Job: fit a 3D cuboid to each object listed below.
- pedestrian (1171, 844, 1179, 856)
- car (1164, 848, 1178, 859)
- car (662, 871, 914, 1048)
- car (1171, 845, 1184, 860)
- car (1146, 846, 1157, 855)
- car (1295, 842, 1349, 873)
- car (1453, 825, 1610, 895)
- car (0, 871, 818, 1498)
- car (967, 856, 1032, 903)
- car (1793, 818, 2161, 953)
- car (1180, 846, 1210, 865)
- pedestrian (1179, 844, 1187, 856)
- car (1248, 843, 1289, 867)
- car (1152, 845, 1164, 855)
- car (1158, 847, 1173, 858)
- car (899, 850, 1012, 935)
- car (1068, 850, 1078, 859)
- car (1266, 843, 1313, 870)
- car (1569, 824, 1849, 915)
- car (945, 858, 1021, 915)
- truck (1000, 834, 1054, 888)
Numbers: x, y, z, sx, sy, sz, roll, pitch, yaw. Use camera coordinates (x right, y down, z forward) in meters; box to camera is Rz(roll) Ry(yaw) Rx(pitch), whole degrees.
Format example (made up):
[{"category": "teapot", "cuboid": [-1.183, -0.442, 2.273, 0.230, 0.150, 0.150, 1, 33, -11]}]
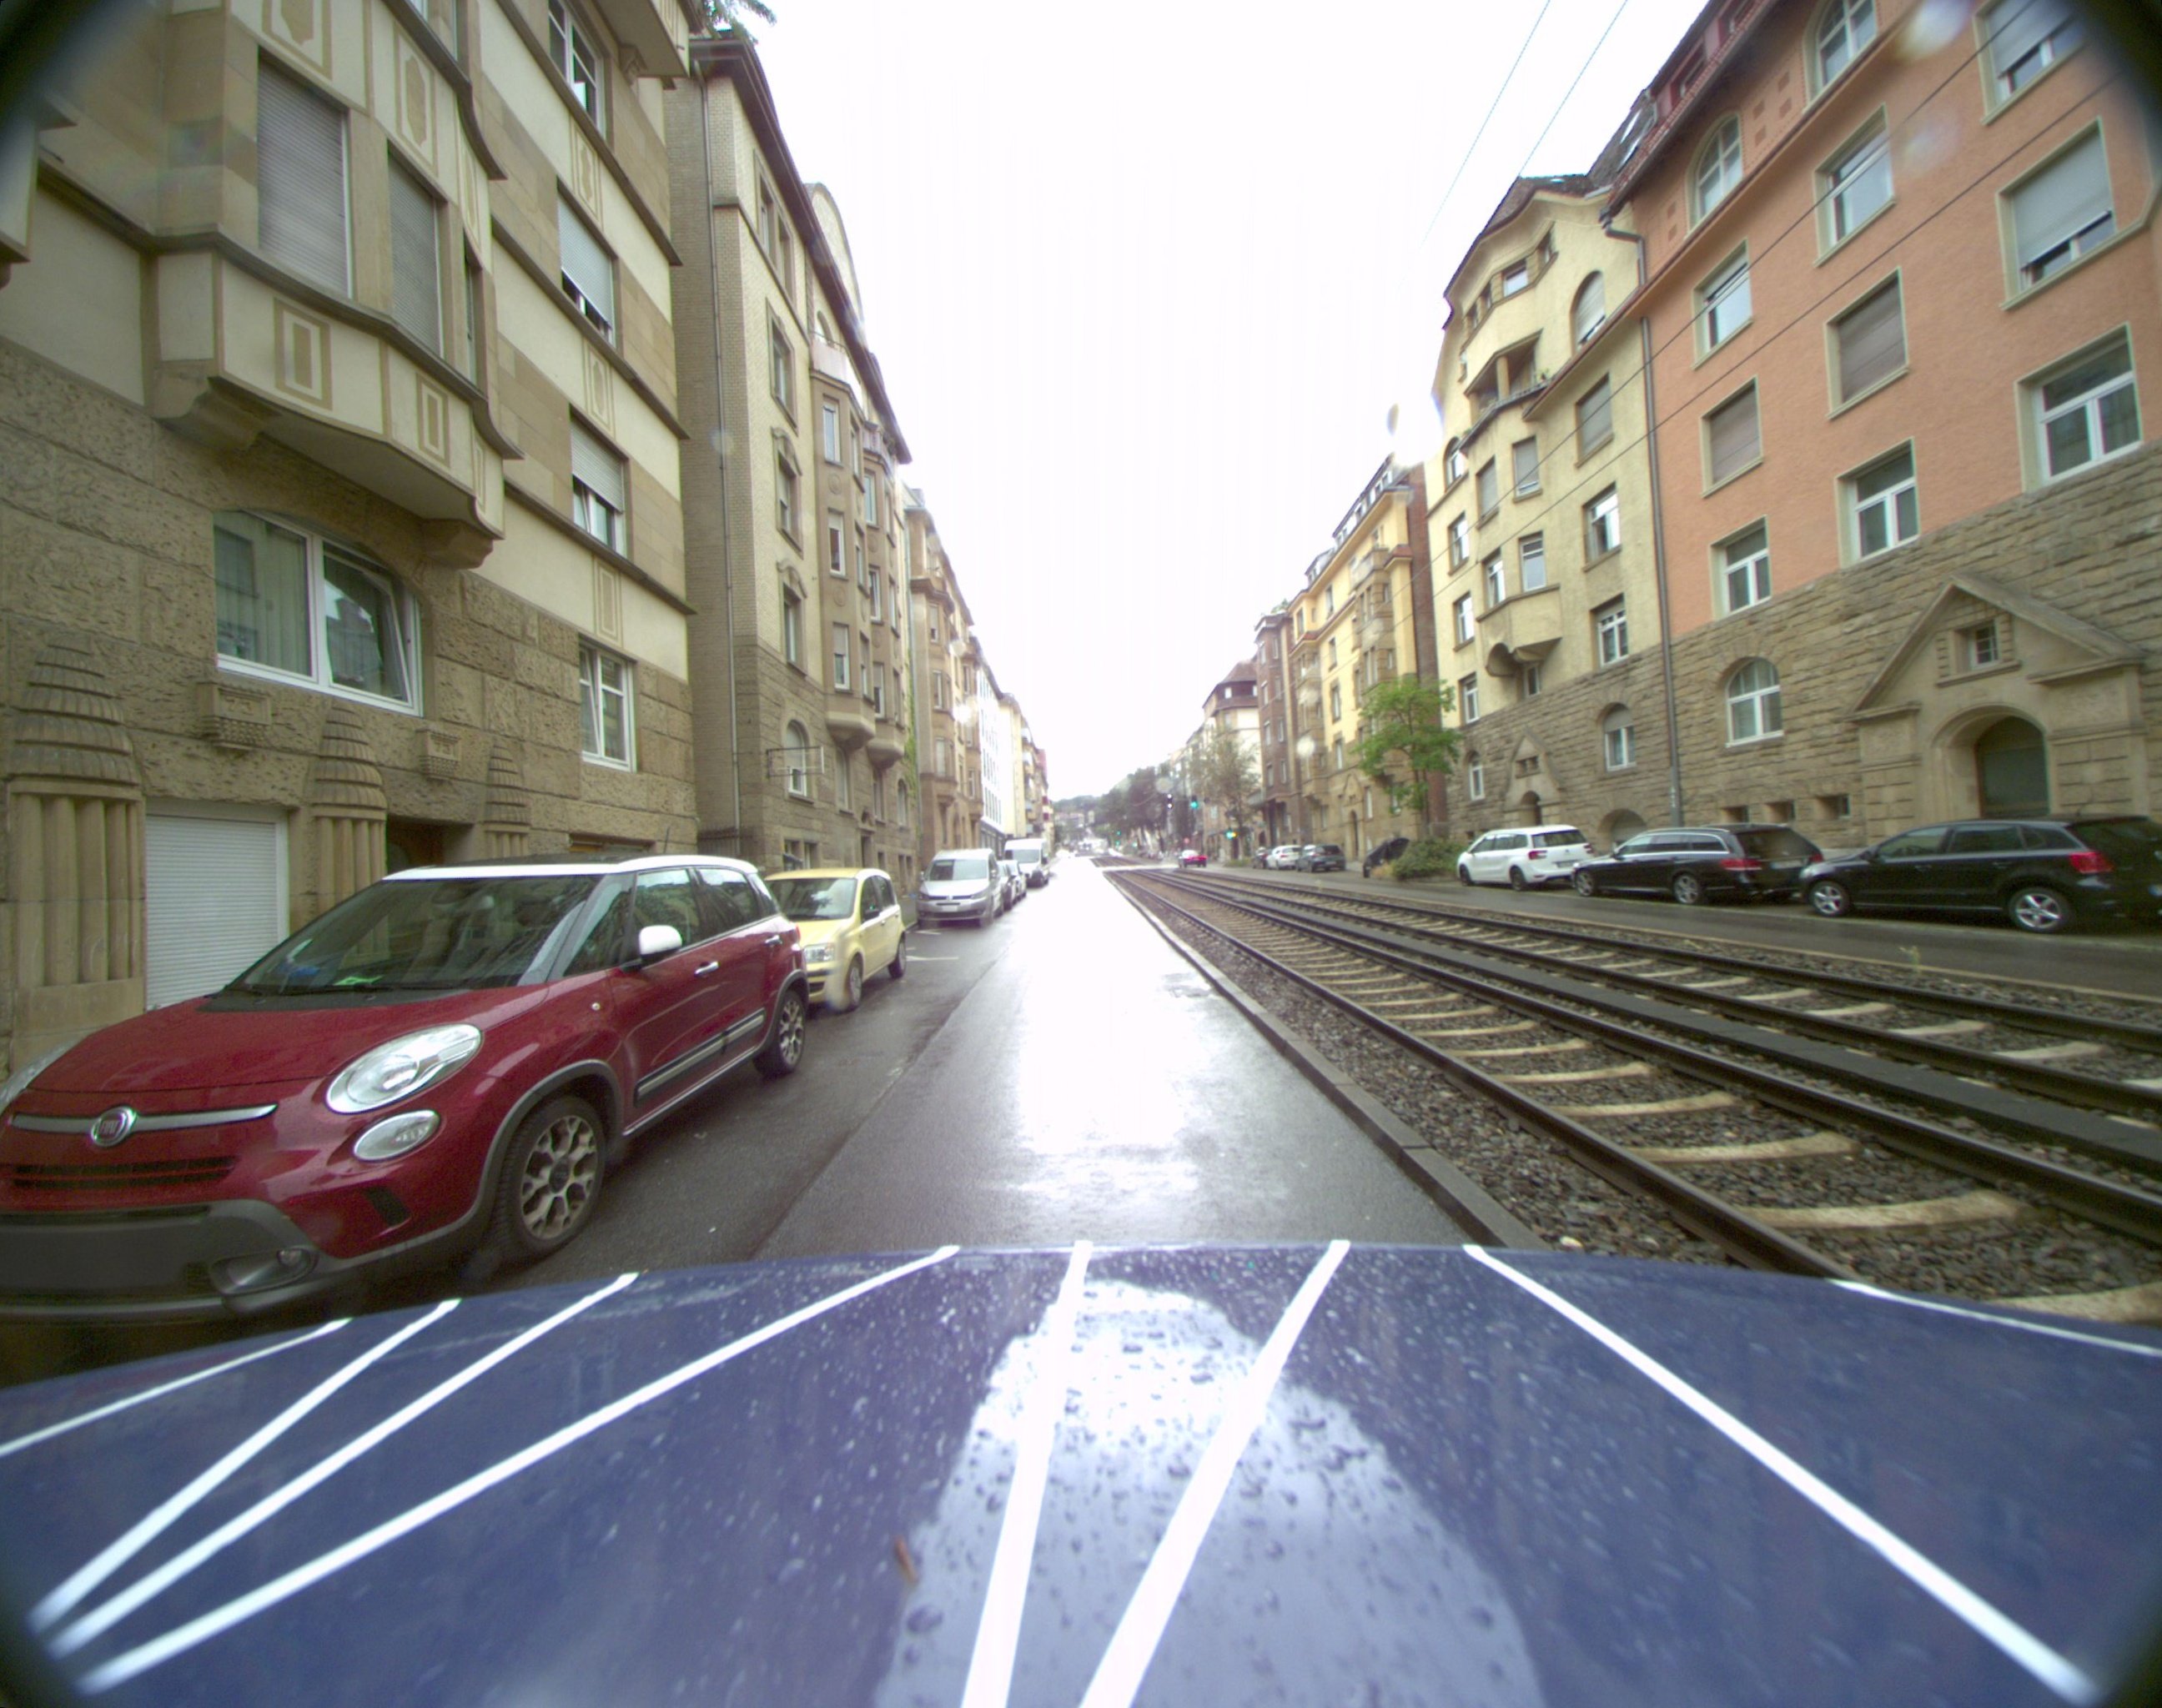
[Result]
[{"category": "pedestrian", "cuboid": [15.020, -0.610, 121.383, 1.056, 1.946, 1.163, -3, 1, 2]}, {"category": "car", "cuboid": [12.560, -0.076, 106.385, 1.583, 1.303, 3.845, -3, 0, 1]}, {"category": "car", "cuboid": [-3.189, 1.046, 9.040, 1.580, 1.520, 3.578, -3, 0, -1]}, {"category": "car", "cuboid": [12.660, -0.222, 99.547, 1.583, 1.669, 3.790, -3, 2, 7]}, {"category": "car", "cuboid": [12.418, -0.620, 133.706, 1.632, 1.537, 3.801, -3, 0, 1]}, {"category": "car", "cuboid": [12.500, 0.144, 39.616, 1.678, 1.433, 3.845, -4, 1, 3]}, {"category": "car", "cuboid": [12.272, 0.148, 21.048, 1.867, 1.646, 4.146, -3, 0, 1]}, {"category": "car", "cuboid": [-3.032, 0.982, 4.092, 1.807, 1.590, 3.999, -3, 0, -1]}, {"category": "car", "cuboid": [-2.955, 0.887, 28.316, 1.891, 1.521, 3.929, -3, 0, 1]}, {"category": "car", "cuboid": [12.529, 0.328, 10.468, 1.935, 1.488, 3.641, -2, 1, -2]}, {"category": "car", "cuboid": [9.798, 0.114, 65.541, 1.808, 1.514, 4.964, -2, 0, 0]}, {"category": "pedestrian", "cuboid": [16.330, -0.659, 121.370, 1.056, 1.946, 1.163, -3, 1, 2]}, {"category": "car", "cuboid": [12.477, 0.081, 50.749, 1.771, 1.433, 3.845, -3, 0, 1]}, {"category": "car", "cuboid": [12.823, -0.620, 126.837, 1.657, 1.589, 3.775, -3, 0, 1]}, {"category": "car", "cuboid": [12.855, -0.264, 115.367, 1.771, 1.507, 3.845, -3, 0, 1]}, {"category": "car", "cuboid": [-3.011, 0.854, 19.198, 1.968, 1.792, 4.459, -3, 0, 1]}, {"category": "car", "cuboid": [-1.750, 0.087, 163.037, 1.998, 1.838, 4.000, -3, 0, 1]}, {"category": "car", "cuboid": [12.467, 0.133, 45.655, 1.771, 1.433, 4.031, -3, 0, 2]}, {"category": "car", "cuboid": [12.291, 0.260, 15.386, 1.847, 1.486, 4.601, -3, 0, 1]}, {"category": "car", "cuboid": [-2.966, 0.944, 23.815, 1.999, 1.521, 3.999, -3, 0, -3]}, {"category": "truck", "cuboid": [-2.727, 0.349, 39.945, 2.235, 2.521, 6.143, -3, 0, 1]}]
